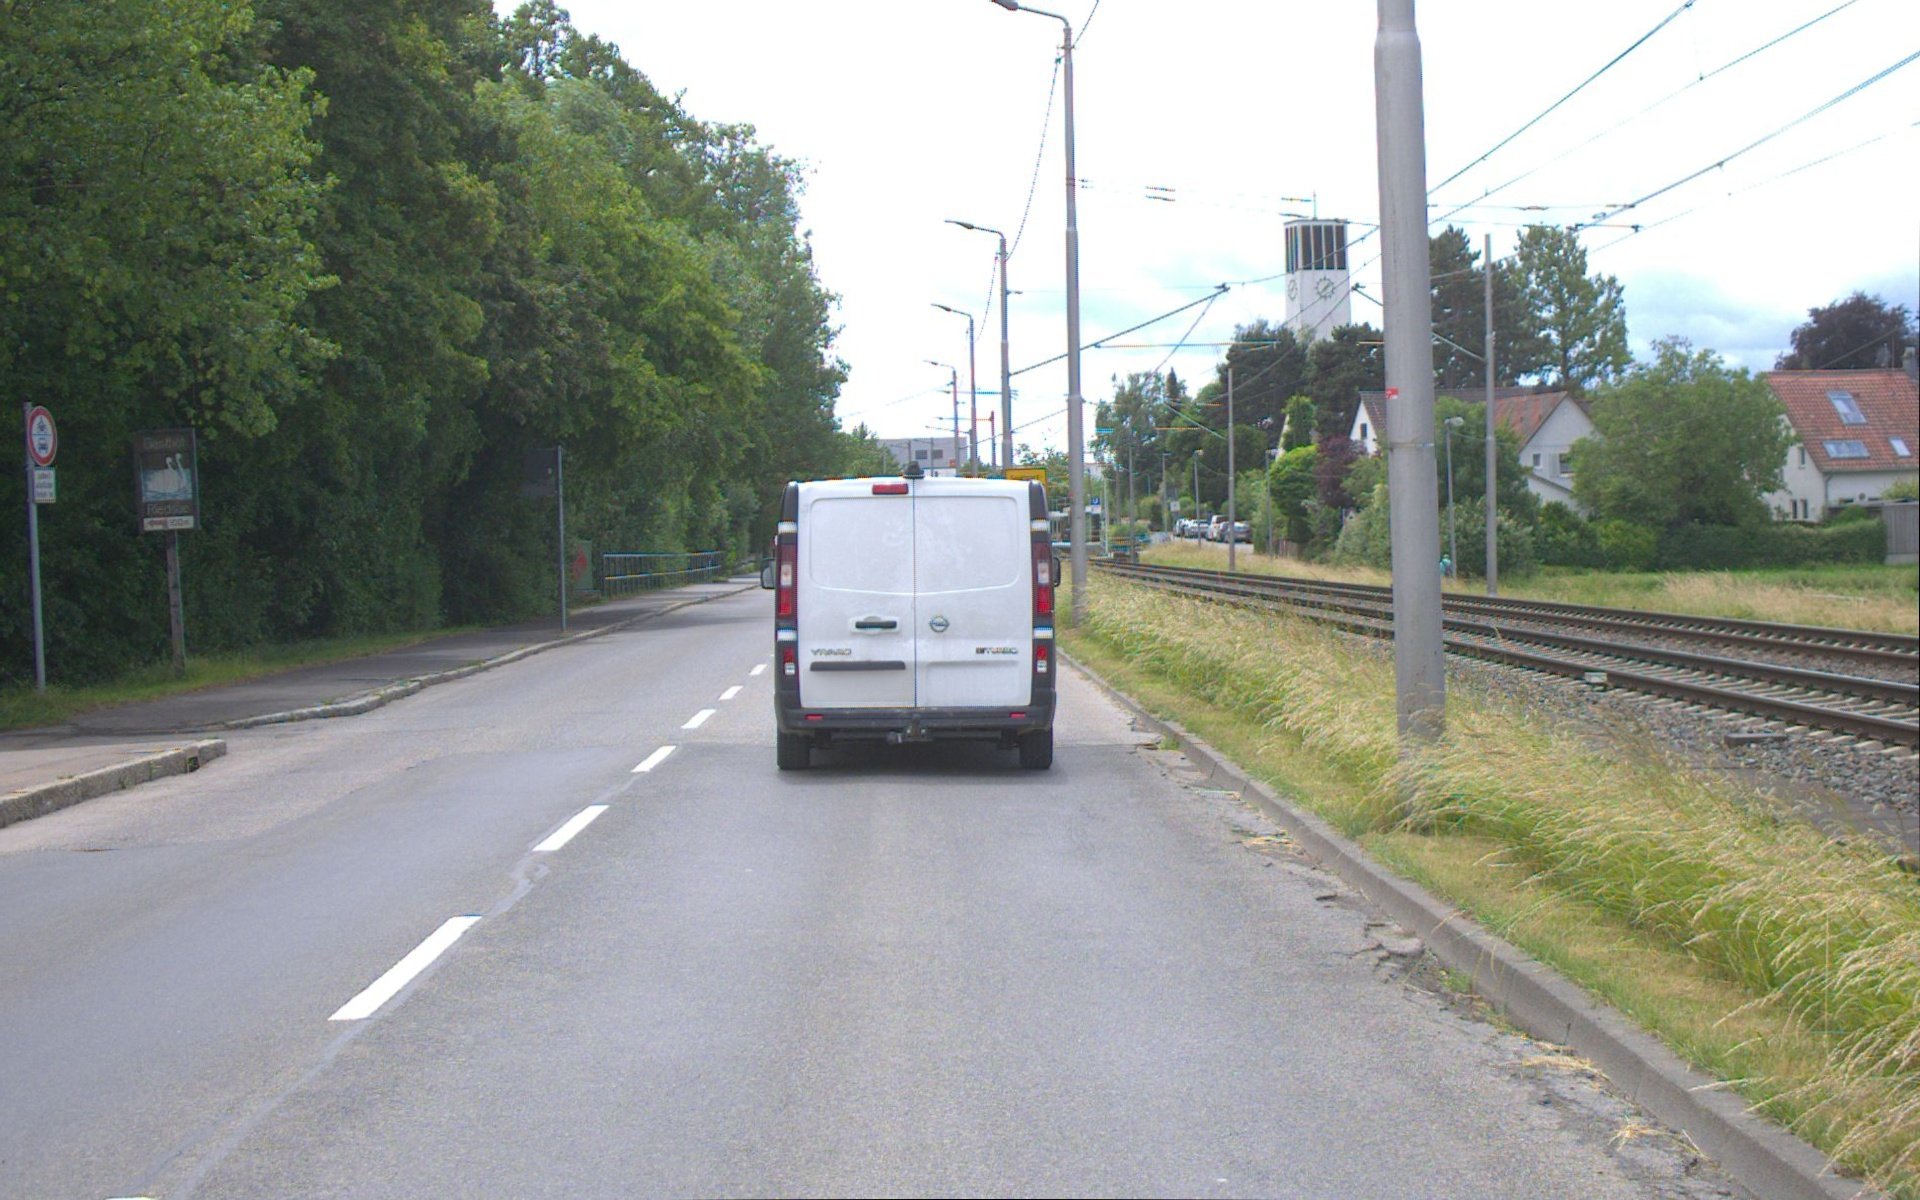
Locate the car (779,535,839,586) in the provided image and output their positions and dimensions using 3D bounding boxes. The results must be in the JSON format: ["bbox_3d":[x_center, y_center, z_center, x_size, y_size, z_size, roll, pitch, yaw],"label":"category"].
[{"bbox_3d":[-5.239,-1.369,119.307,1.993,1.711,4.124,-1,1,-2],"label":"car"}]

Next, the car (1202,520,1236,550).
[{"bbox_3d":[18.710,-4.679,248.107,1.993,2.007,4.000,1,-1,-2],"label":"car"}]

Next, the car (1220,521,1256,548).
[{"bbox_3d":[19.231,-4.511,237.728,1.993,1.711,4.000,1,-1,-2],"label":"car"}]

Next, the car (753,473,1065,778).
[{"bbox_3d":[-0.391,0.123,23.976,1.993,1.950,4.001,0,1,-2],"label":"car"}]

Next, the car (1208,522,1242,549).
[{"bbox_3d":[18.792,-4.554,243.763,1.993,1.810,4.000,1,-1,-2],"label":"car"}]
